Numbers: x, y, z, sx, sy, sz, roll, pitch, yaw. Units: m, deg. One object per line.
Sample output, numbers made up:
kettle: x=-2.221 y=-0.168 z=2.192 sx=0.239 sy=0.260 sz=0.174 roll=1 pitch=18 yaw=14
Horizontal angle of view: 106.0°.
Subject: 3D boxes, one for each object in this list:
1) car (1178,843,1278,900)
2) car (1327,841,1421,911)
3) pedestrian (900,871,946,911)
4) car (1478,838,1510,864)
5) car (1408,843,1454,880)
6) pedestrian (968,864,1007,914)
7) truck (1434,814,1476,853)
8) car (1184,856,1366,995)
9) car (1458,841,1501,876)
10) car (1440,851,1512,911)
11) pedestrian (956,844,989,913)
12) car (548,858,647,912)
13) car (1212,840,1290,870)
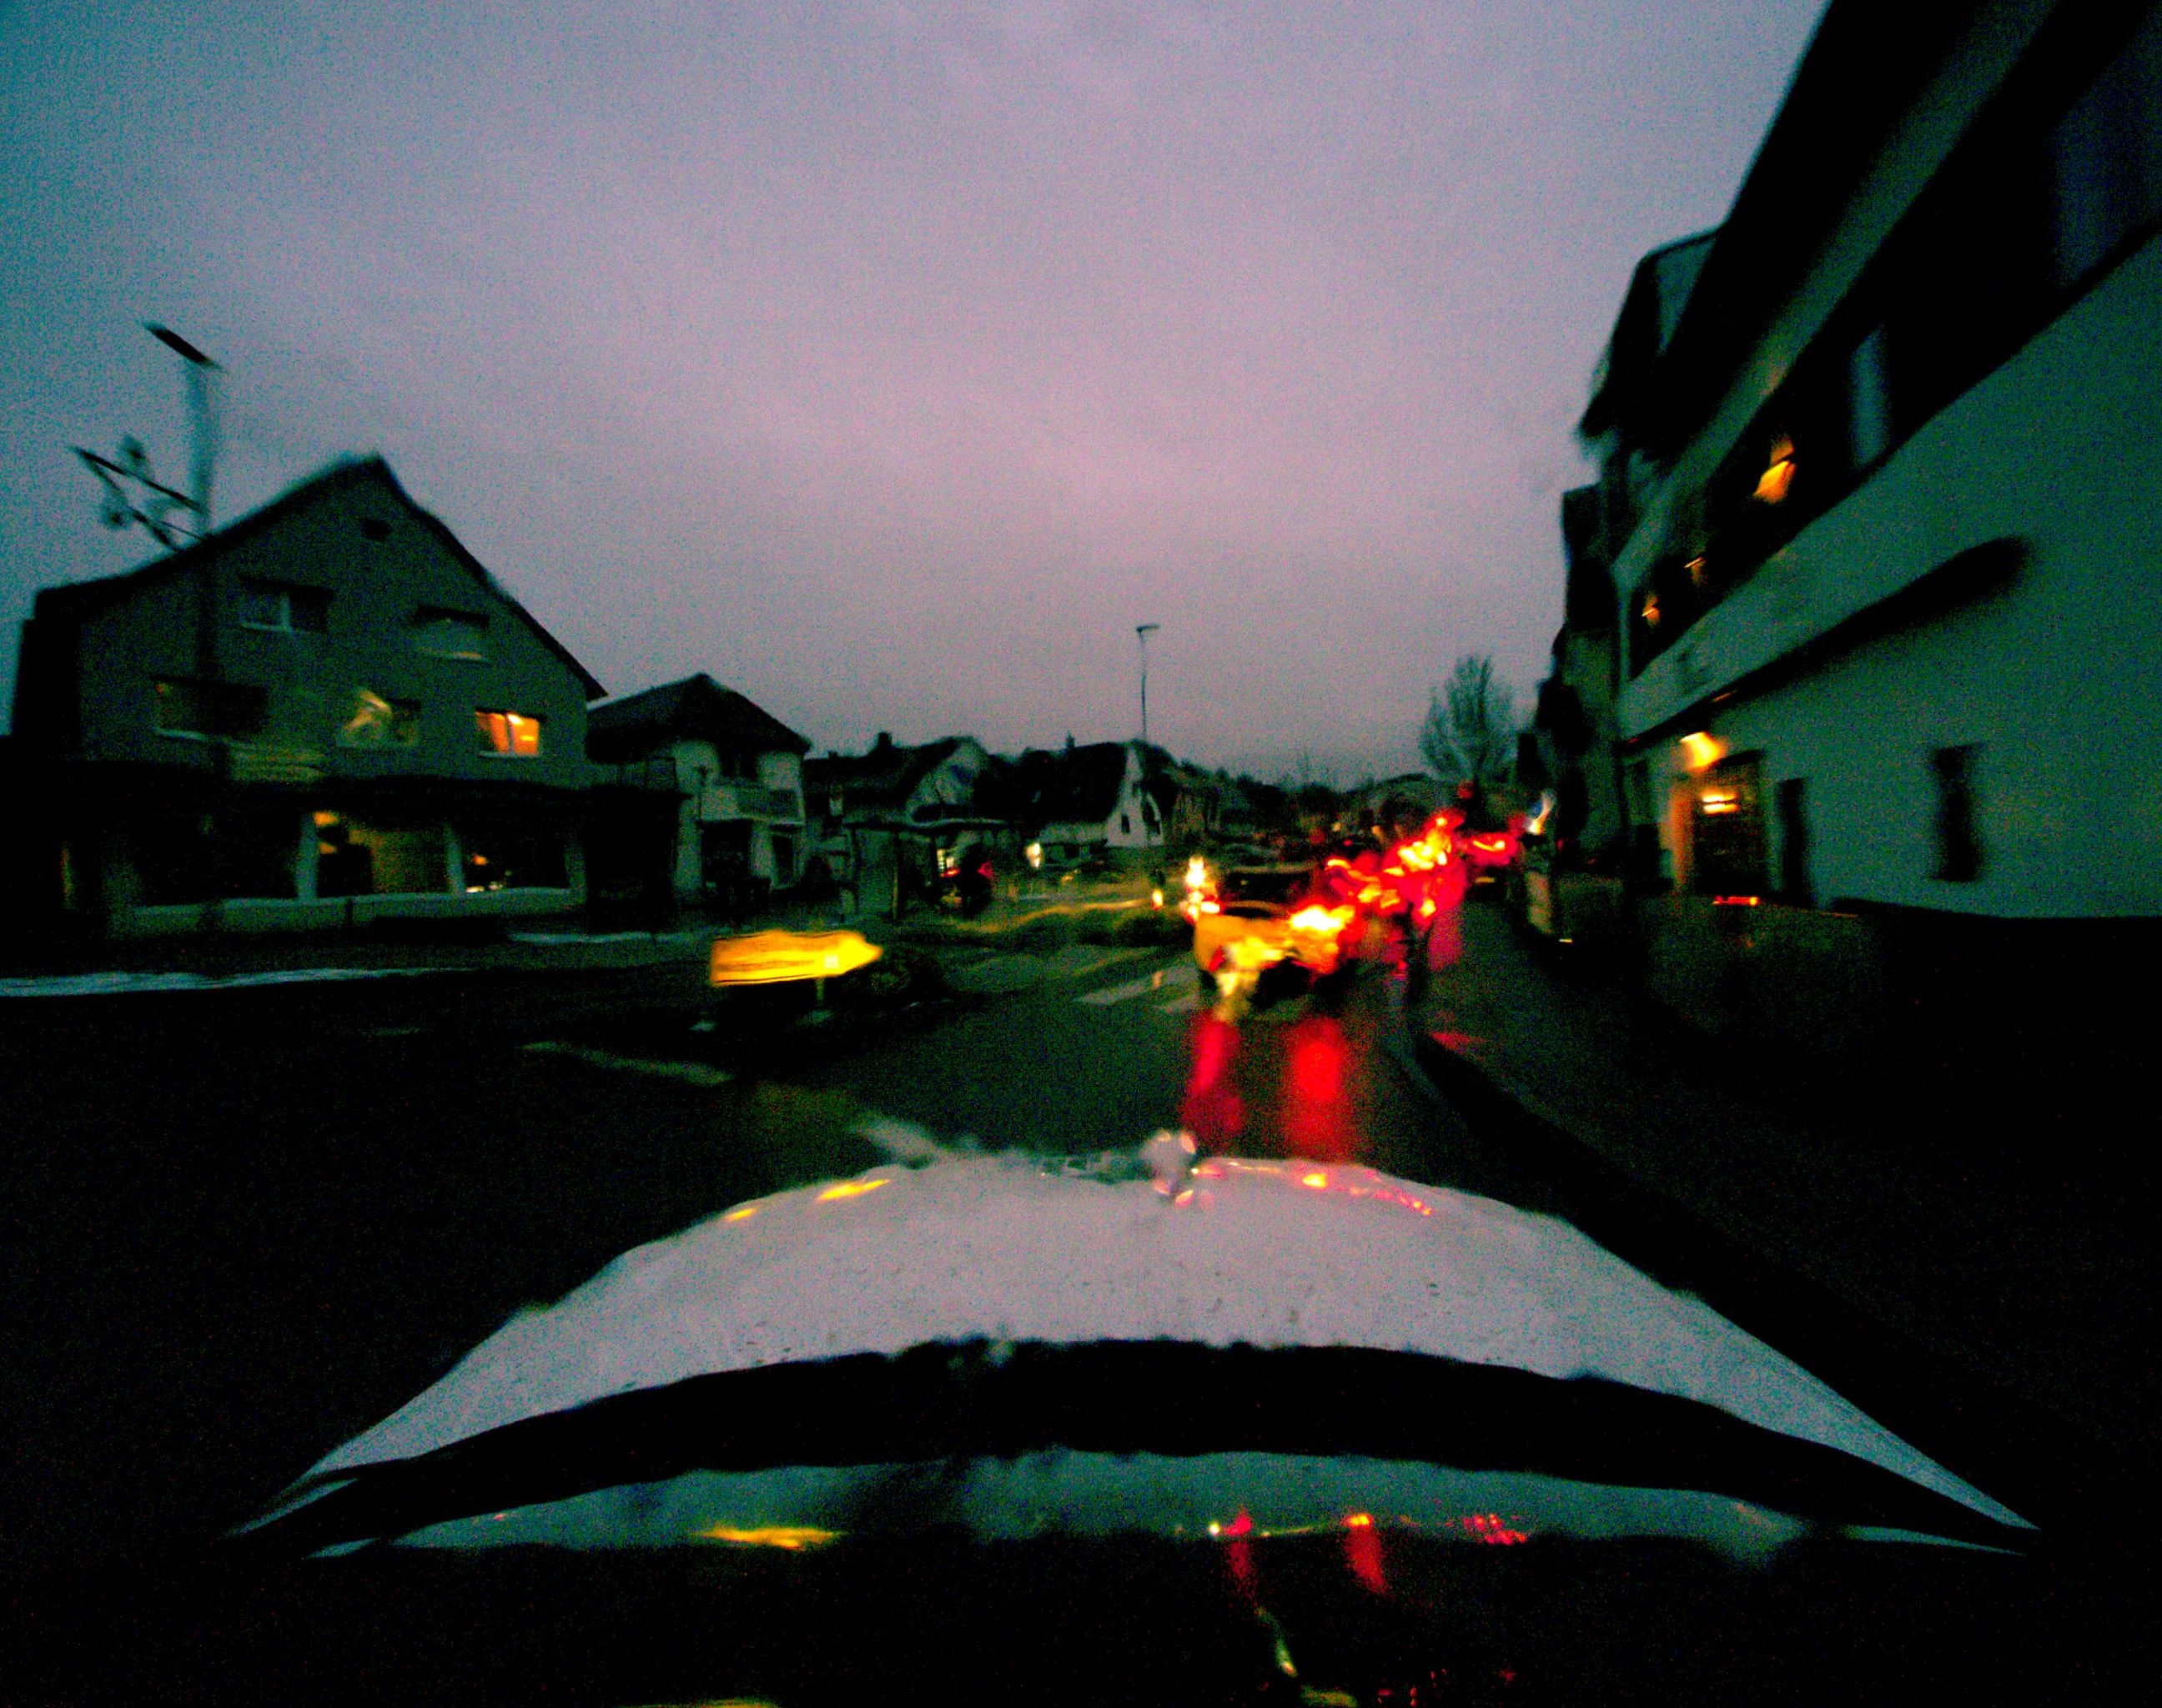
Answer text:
car: x=4.648 y=0.489 z=25.242 sx=1.724 sy=1.568 sz=4.087 roll=-1 pitch=1 yaw=30
car: x=7.958 y=0.532 z=21.886 sx=1.898 sy=1.615 sz=3.974 roll=-2 pitch=1 yaw=26
pedestrian: x=-4.166 y=0.973 z=21.506 sx=0.853 sy=1.010 sz=0.816 roll=-1 pitch=0 yaw=24
car: x=25.831 y=-0.220 z=50.848 sx=1.674 sy=1.467 sz=3.742 roll=-2 pitch=1 yaw=28
car: x=17.205 y=0.333 z=39.917 sx=1.705 sy=1.632 sz=4.025 roll=-2 pitch=1 yaw=28
pedestrian: x=-2.639 y=0.982 z=23.012 sx=0.776 sy=1.348 sz=0.721 roll=-1 pitch=0 yaw=27
truck: x=30.626 y=-1.683 z=66.589 sx=2.689 sy=3.010 sz=6.029 roll=-2 pitch=1 yaw=28
car: x=2.795 y=0.793 z=11.004 sx=1.695 sy=1.421 sz=4.035 roll=-1 pitch=1 yaw=23
car: x=18.642 y=0.191 z=38.019 sx=1.674 sy=1.467 sz=3.742 roll=-2 pitch=1 yaw=28
car: x=12.118 y=0.778 z=24.879 sx=1.794 sy=1.570 sz=3.874 roll=-2 pitch=1 yaw=28
pedestrian: x=-2.953 y=0.659 z=22.181 sx=0.725 sy=1.818 sz=0.531 roll=-2 pitch=0 yaw=4
car: x=-17.657 y=1.099 z=29.680 sx=3.948 sy=1.797 sz=1.821 roll=-2 pitch=1 yaw=40
car: x=10.322 y=0.079 z=49.466 sx=4.269 sy=1.640 sz=1.856 roll=-2 pitch=1 yaw=23
